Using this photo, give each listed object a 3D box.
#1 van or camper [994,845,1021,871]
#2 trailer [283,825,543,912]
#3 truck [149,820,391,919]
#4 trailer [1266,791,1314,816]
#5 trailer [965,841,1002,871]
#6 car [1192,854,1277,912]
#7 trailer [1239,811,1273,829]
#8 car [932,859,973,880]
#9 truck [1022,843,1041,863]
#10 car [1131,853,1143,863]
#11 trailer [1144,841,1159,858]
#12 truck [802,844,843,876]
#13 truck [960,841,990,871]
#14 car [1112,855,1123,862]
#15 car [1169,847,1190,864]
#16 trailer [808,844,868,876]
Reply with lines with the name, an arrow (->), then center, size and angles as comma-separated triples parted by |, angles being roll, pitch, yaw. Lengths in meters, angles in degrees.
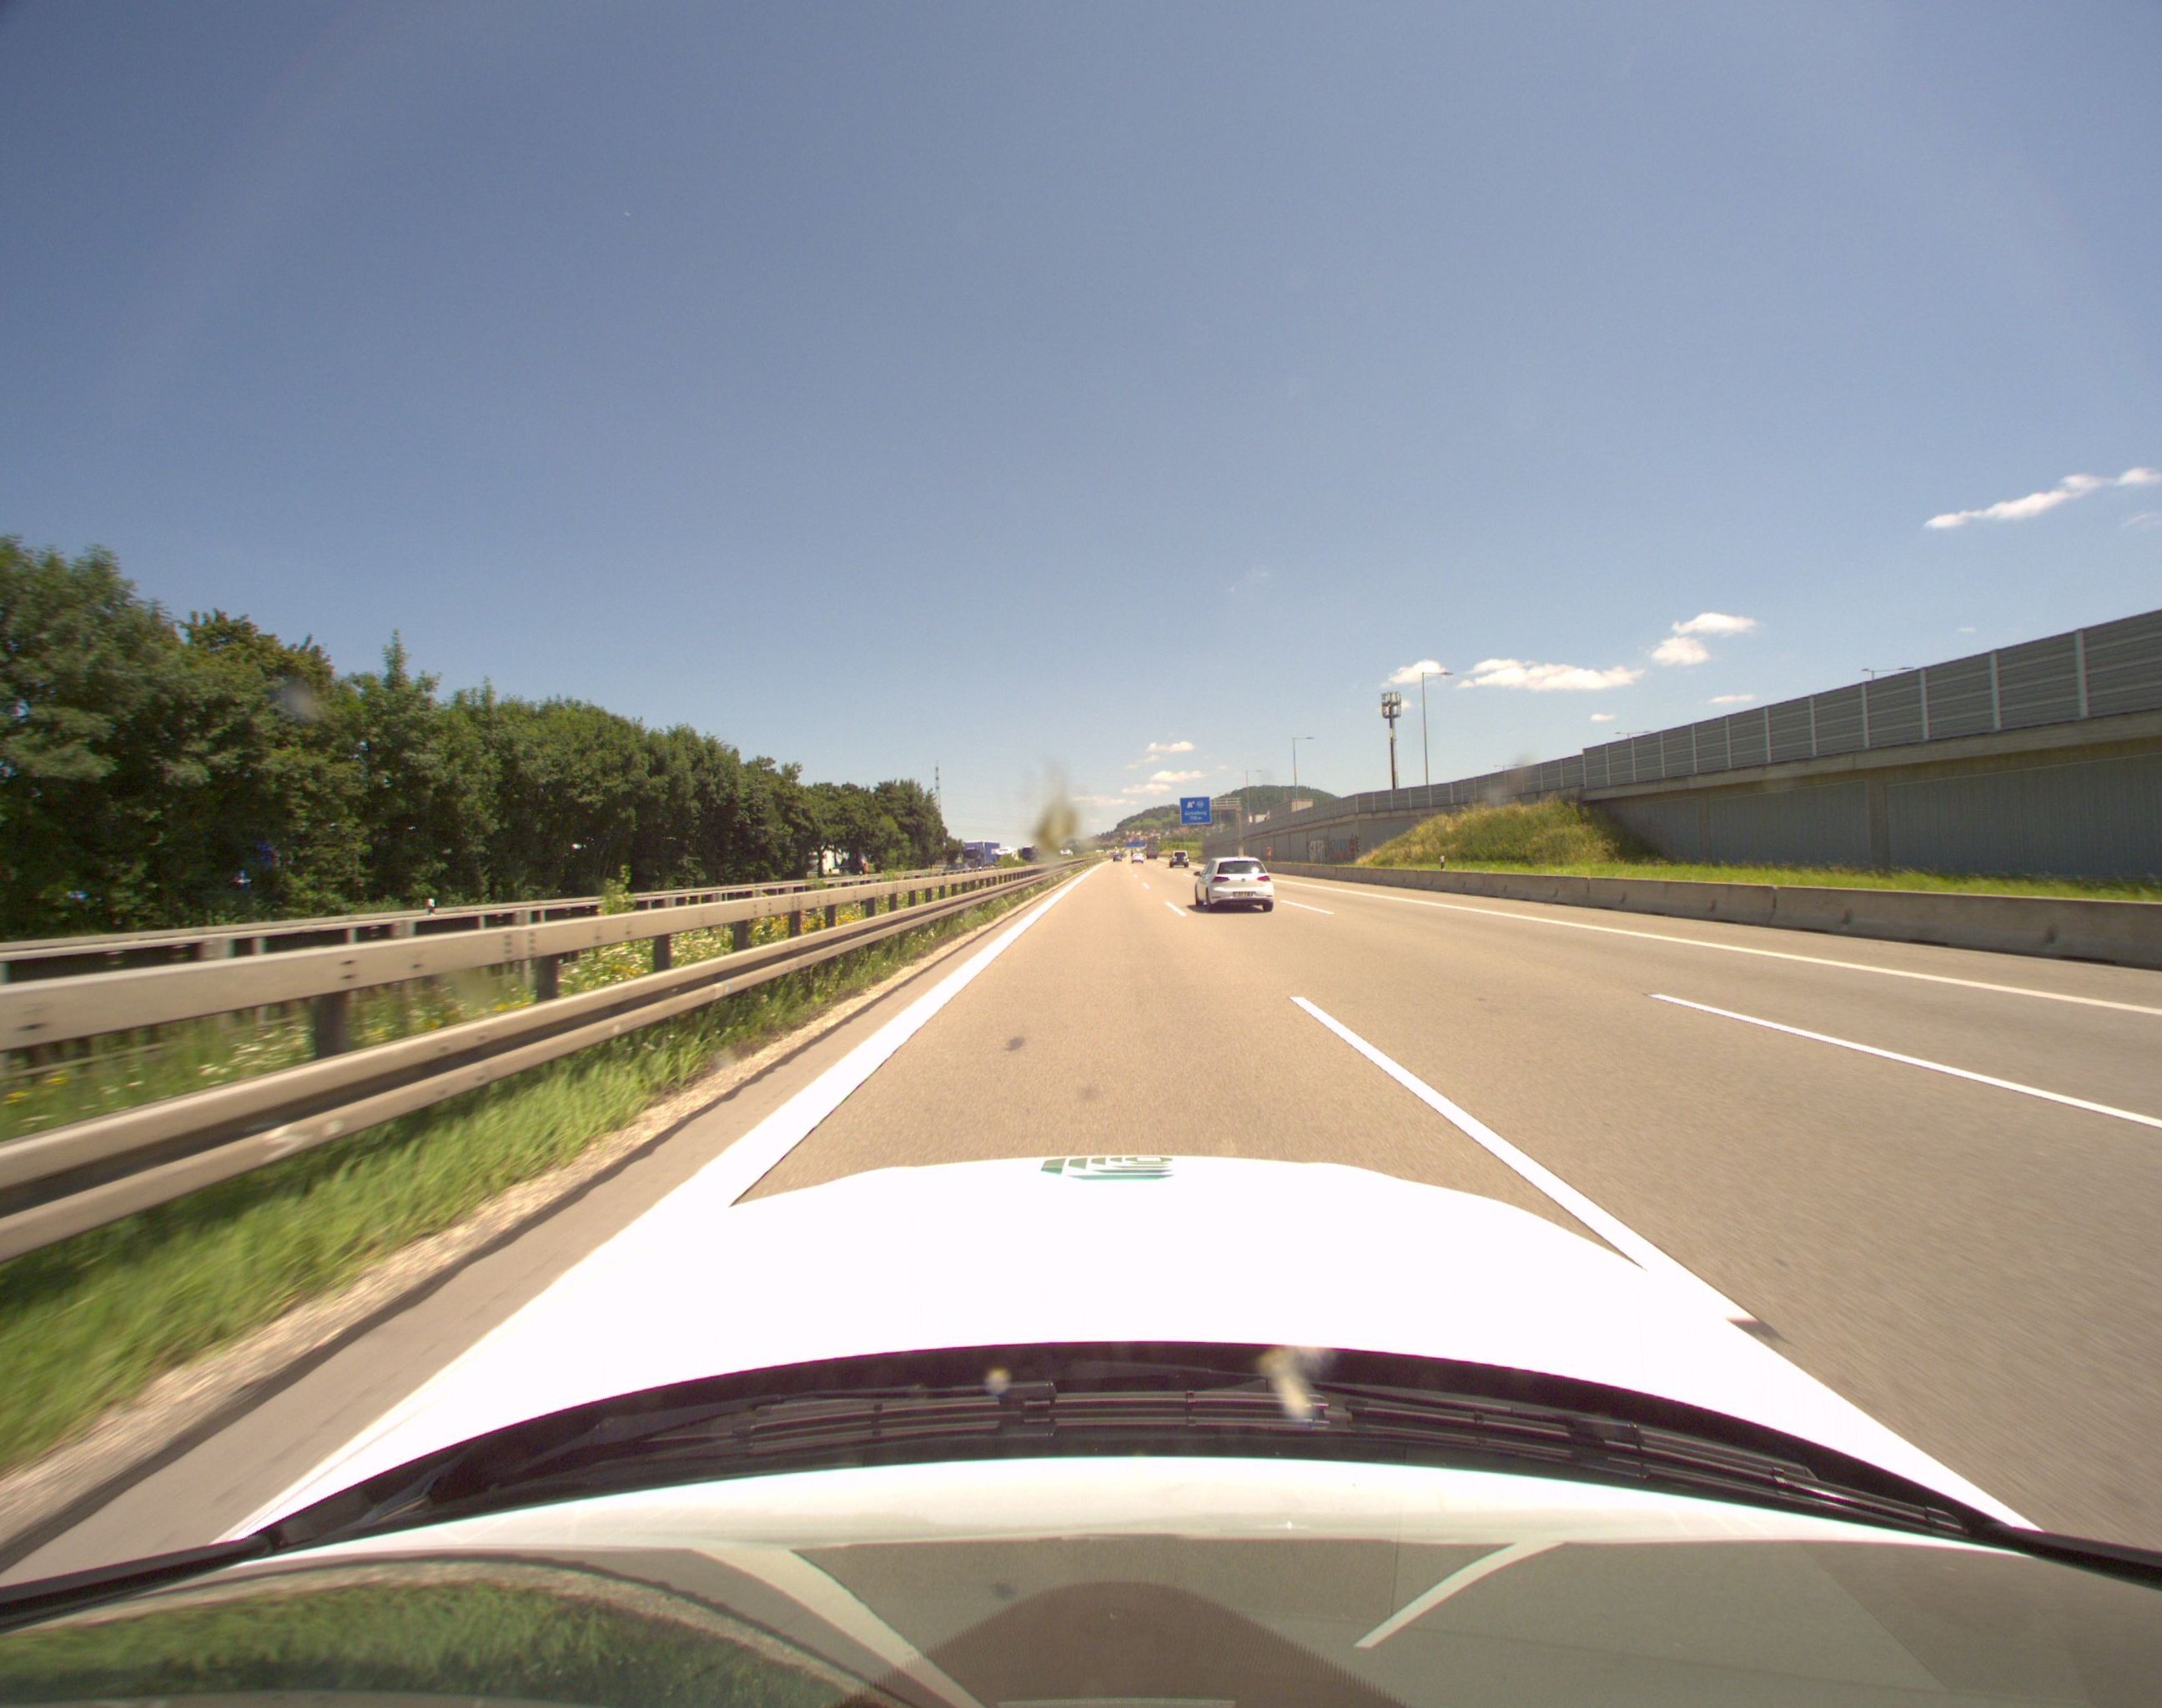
van or camper -> -9.097, 0.520, 101.372 | 2.261, 2.969, 6.958 | -3, 0, 3
trailer -> -33.060, 0.671, 41.593 | 1.986, 3.697, 13.190 | 0, 0, 2
truck -> -33.315, 0.589, 34.047 | 1.986, 3.648, 7.905 | 0, -1, 2
trailer -> 26.682, -6.384, 104.814 | 2.709, 2.224, 14.531 | 0, 0, 1
trailer -> -13.134, 0.309, 111.108 | 2.831, 3.734, 14.538 | 0, 0, 2
car -> 4.262, 0.753, 23.311 | 1.769, 1.433, 4.695 | 0, 1, 3
trailer -> 27.634, -5.300, 129.080 | 2.709, 2.224, 14.024 | 0, 0, 1
car -> -8.129, 0.959, 51.879 | 1.792, 1.310, 4.002 | 0, 0, 2
truck -> -9.734, -0.100, 160.198 | 2.665, 3.819, 9.159 | 0, -1, 3
car -> 9.117, 0.601, 133.197 | 1.906, 1.581, 5.235 | 0, 0, 3
trailer -> 17.703, -1.076, 204.250 | 2.716, 4.155, 11.806 | 0, -1, 0
truck -> -31.484, 0.733, 99.555 | 2.785, 3.783, 6.103 | 0, -1, 3
truck -> -13.429, 0.237, 103.610 | 2.837, 3.745, 5.696 | 0, -1, 2
car -> 7.200, 0.820, 159.525 | 1.985, 1.389, 4.004 | 0, -1, 4
car -> 10.990, 0.182, 91.011 | 2.026, 1.804, 4.253 | -1, 0, 2
trailer -> -31.190, 0.801, 105.495 | 2.756, 3.778, 14.421 | 0, 0, 3
